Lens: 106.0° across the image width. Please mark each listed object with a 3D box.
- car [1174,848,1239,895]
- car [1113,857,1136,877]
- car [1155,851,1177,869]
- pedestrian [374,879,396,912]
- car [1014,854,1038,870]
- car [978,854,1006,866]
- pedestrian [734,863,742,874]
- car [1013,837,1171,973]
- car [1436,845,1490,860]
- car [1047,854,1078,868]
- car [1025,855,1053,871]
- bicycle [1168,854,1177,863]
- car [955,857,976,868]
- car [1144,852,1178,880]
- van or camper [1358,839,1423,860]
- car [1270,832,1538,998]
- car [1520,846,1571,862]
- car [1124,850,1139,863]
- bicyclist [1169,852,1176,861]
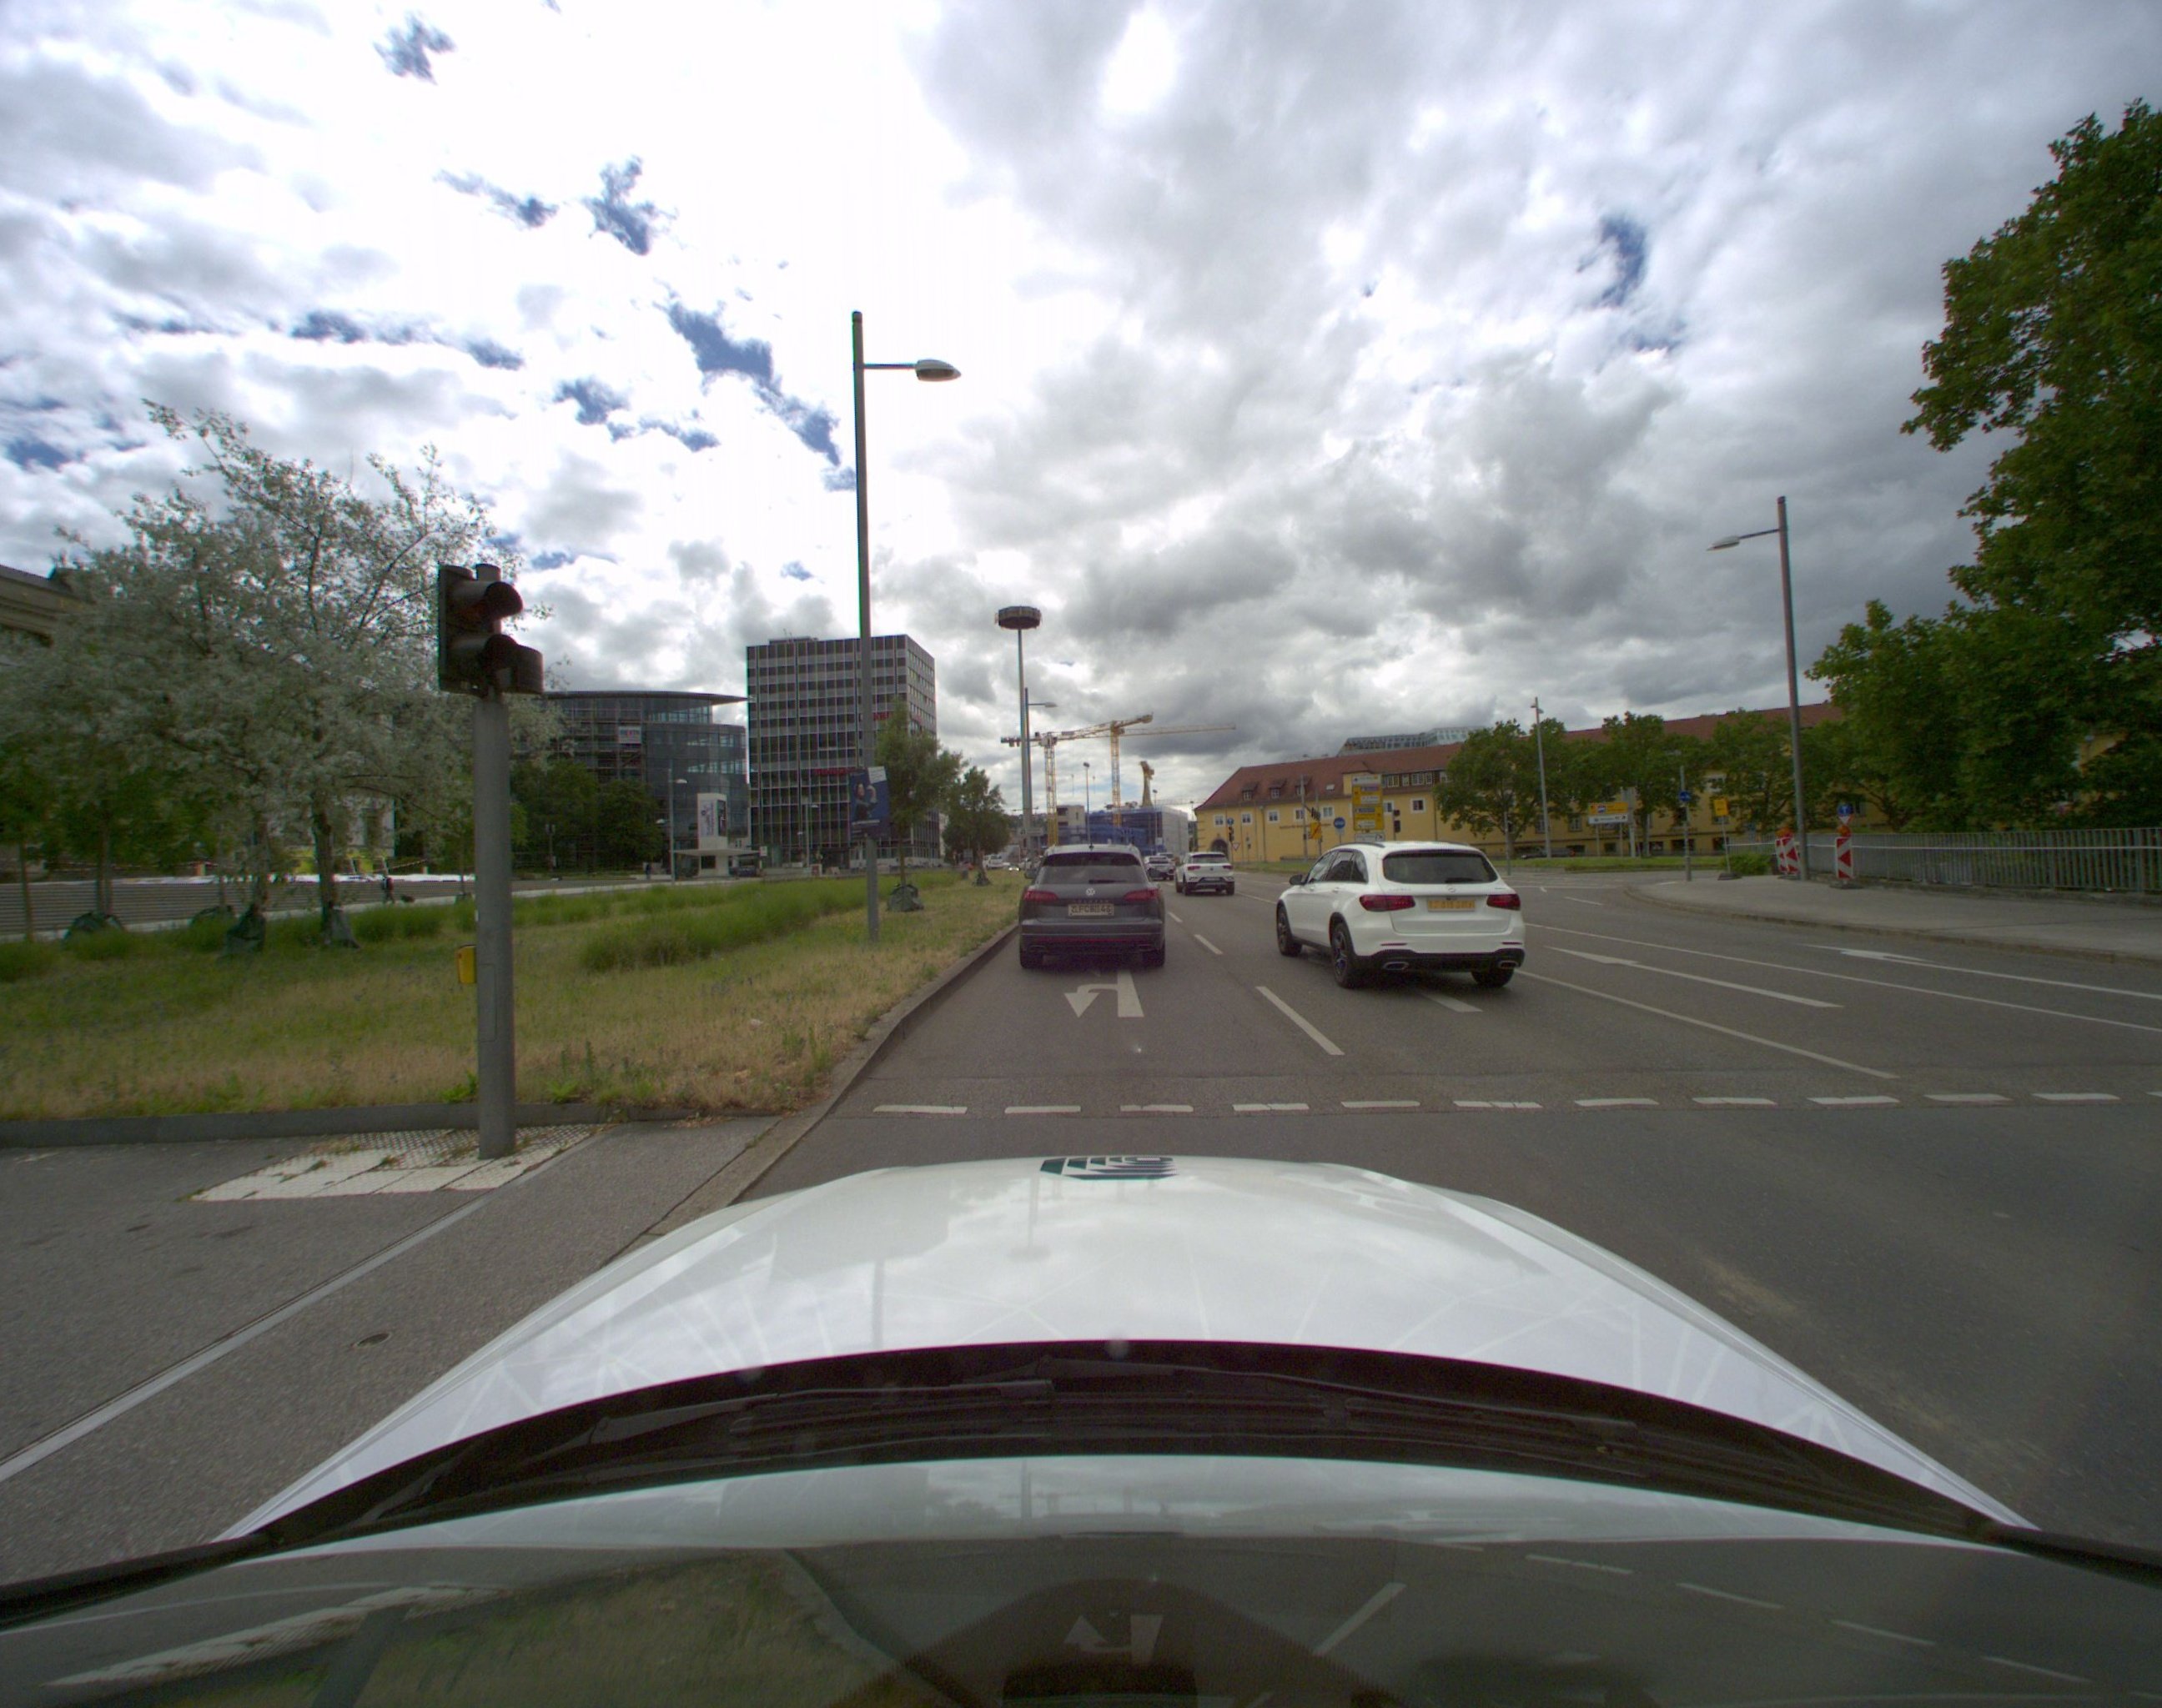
[{"bbox_3d":[4.565,0.595,30.073,1.886,1.585,3.802,-1,0,2],"label":"car"},{"bbox_3d":[3.502,1.009,65.072,1.711,1.502,3.986,-1,1,4],"label":"car"},{"bbox_3d":[7.836,0.550,75.478,1.796,1.502,3.984,-1,1,3],"label":"car"},{"bbox_3d":[-35.159,2.075,41.146,0.522,1.649,0.650,-1,0,0],"label":"pedestrian"},{"bbox_3d":[-6.831,0.987,100.755,1.901,1.610,3.974,-3,5,-21],"label":"car"},{"bbox_3d":[-11.139,0.723,102.003,2.255,1.502,4.575,-1,1,-23],"label":"car"},{"bbox_3d":[-34.090,1.421,80.899,0.473,1.081,0.560,-1,0,3],"label":"pedestrian"},{"bbox_3d":[0.195,0.607,12.069,1.926,1.647,4.002,-1,0,1],"label":"car"},{"bbox_3d":[38.118,-0.155,81.237,4.632,1.420,1.607,-1,0,33],"label":"car"},{"bbox_3d":[-1.910,0.714,84.522,1.651,1.396,3.561,-1,0,-32],"label":"car"},{"bbox_3d":[-4.098,0.834,79.114,1.819,1.496,3.884,-1,1,-17],"label":"car"},{"bbox_3d":[13.122,0.632,116.853,0.921,1.158,2.462,-1,0,-3],"label":"bicycle"},{"bbox_3d":[-15.994,1.196,112.602,1.727,1.502,3.948,-1,0,-25],"label":"car"},{"bbox_3d":[4.592,0.639,47.195,1.712,1.502,4.147,-1,1,3],"label":"car"},{"bbox_3d":[32.412,-0.432,85.311,5.947,2.013,2.032,-1,0,37],"label":"van or camper"},{"bbox_3d":[3.770,0.598,10.425,1.812,1.647,4.381,-1,1,2],"label":"car"},{"bbox_3d":[44.116,-0.016,77.357,4.037,1.413,1.670,-1,0,33],"label":"car"},{"bbox_3d":[6.139,0.320,99.847,1.712,1.502,3.984,-1,1,3],"label":"car"},{"bbox_3d":[13.119,0.351,116.855,0.921,1.158,0.724,-1,0,-3],"label":"bicyclist"}]
